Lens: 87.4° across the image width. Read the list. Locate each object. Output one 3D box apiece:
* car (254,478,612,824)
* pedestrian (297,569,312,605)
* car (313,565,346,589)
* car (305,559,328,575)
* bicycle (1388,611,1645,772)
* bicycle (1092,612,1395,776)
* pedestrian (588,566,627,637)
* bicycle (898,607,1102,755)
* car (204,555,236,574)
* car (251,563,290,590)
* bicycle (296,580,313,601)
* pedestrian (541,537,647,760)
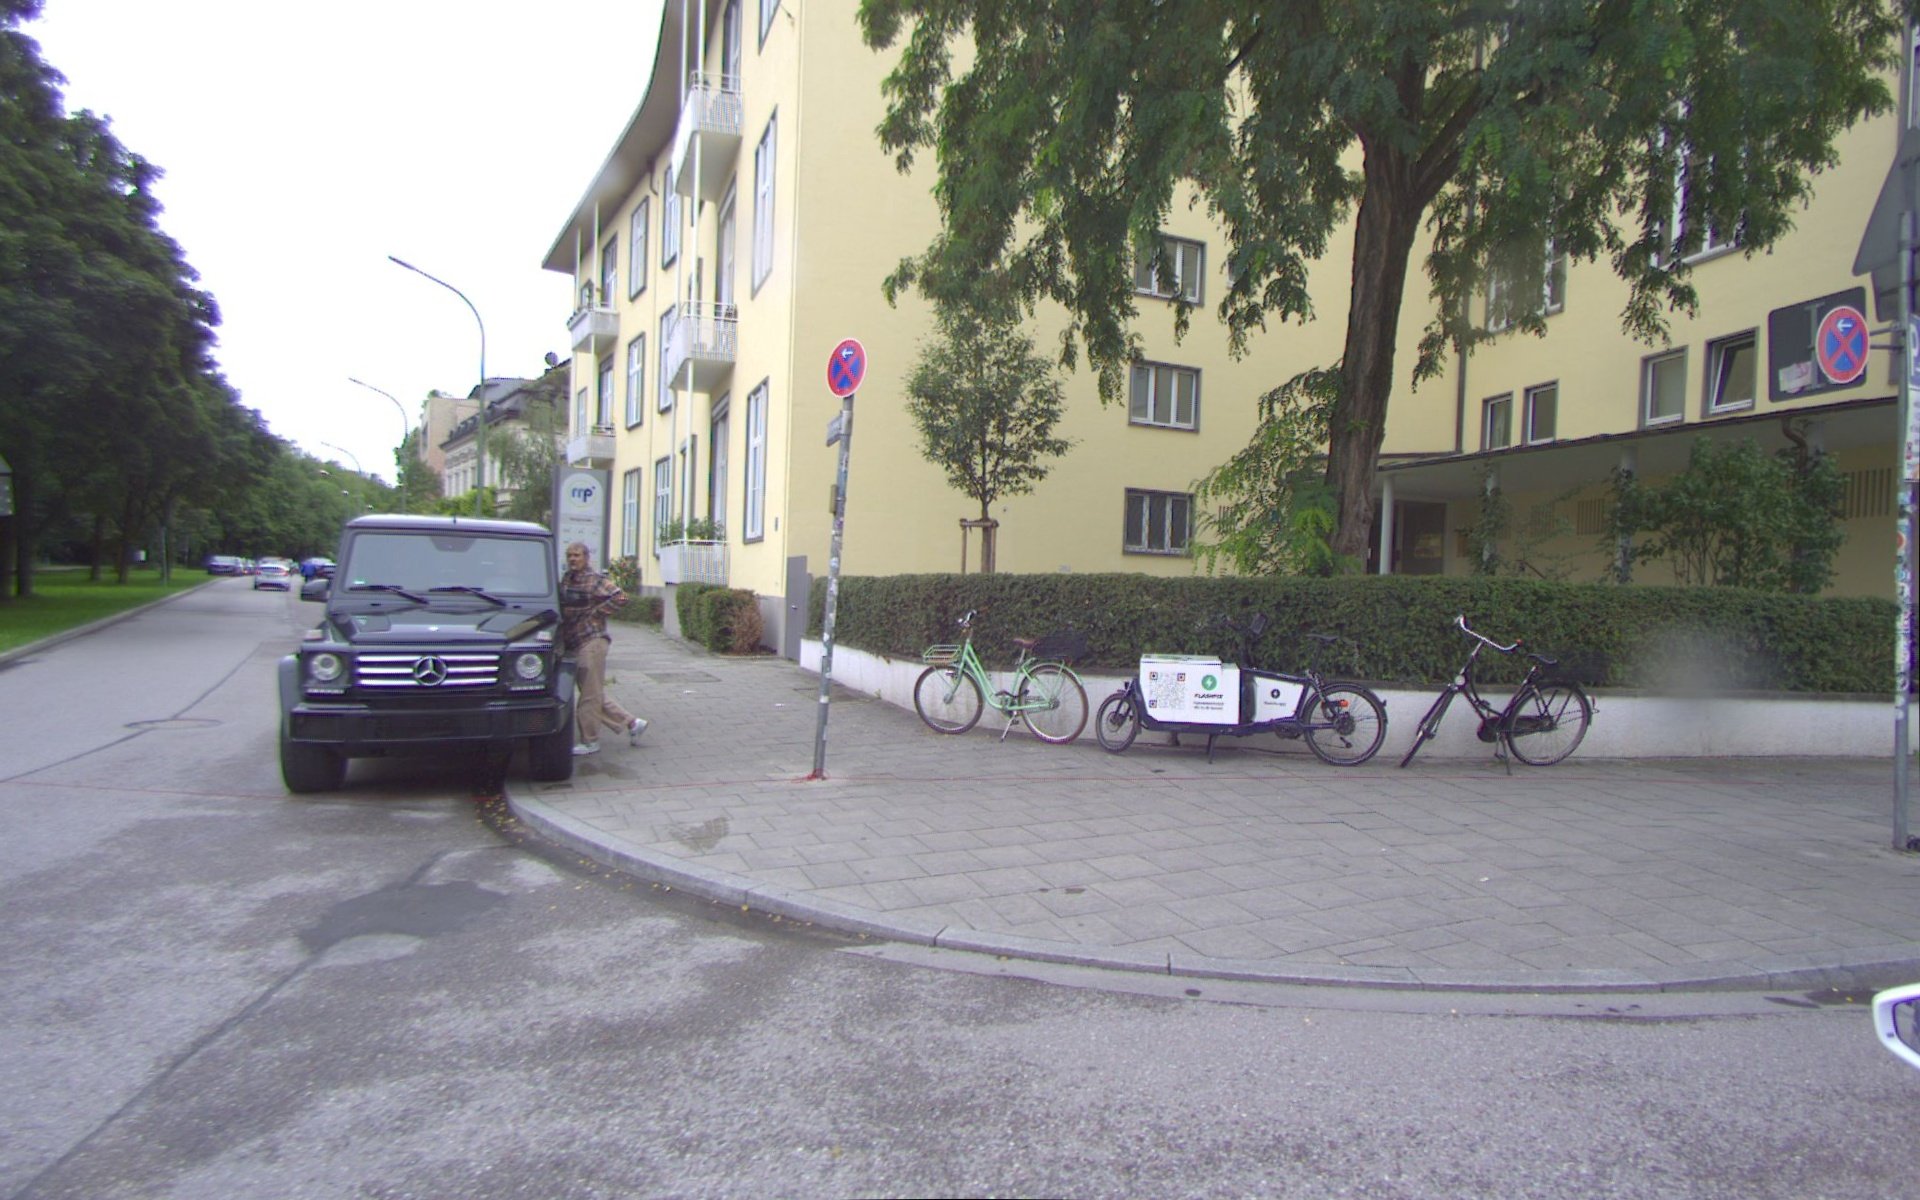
[{"bbox_3d":[-4.107,0.294,8.278,1.909,2.027,4.394,3,0,-24],"label":"car"},{"bbox_3d":[-30.726,-0.616,47.077,0.468,1.651,0.750,2,1,-39],"label":"pedestrian"},{"bbox_3d":[-40.618,-1.471,64.641,1.613,1.439,3.755,3,0,-35],"label":"car"},{"bbox_3d":[-60.401,-3.092,94.278,1.737,1.409,3.825,3,0,-34],"label":"car"},{"bbox_3d":[4.521,0.736,8.203,1.820,1.226,0.563,2,2,-8],"label":"bicycle"},{"bbox_3d":[2.252,0.721,8.175,2.251,1.141,0.583,2,2,14],"label":"bicycle"},{"bbox_3d":[-8.613,0.036,24.540,0.817,1.699,0.687,2,0,-21],"label":"pedestrian"},{"bbox_3d":[0.330,0.685,9.232,1.922,1.172,0.580,2,3,40],"label":"bicycle"},{"bbox_3d":[-61.215,-2.927,83.121,1.727,1.409,3.939,3,0,-31],"label":"car"},{"bbox_3d":[-39.289,-1.365,57.287,1.737,1.409,3.825,3,0,-34],"label":"car"},{"bbox_3d":[-30.739,-0.453,47.084,0.479,0.920,1.613,2,0,-39],"label":"bicycle"},{"bbox_3d":[-3.092,0.399,8.525,0.627,1.823,0.561,0,1,8],"label":"pedestrian"}]
